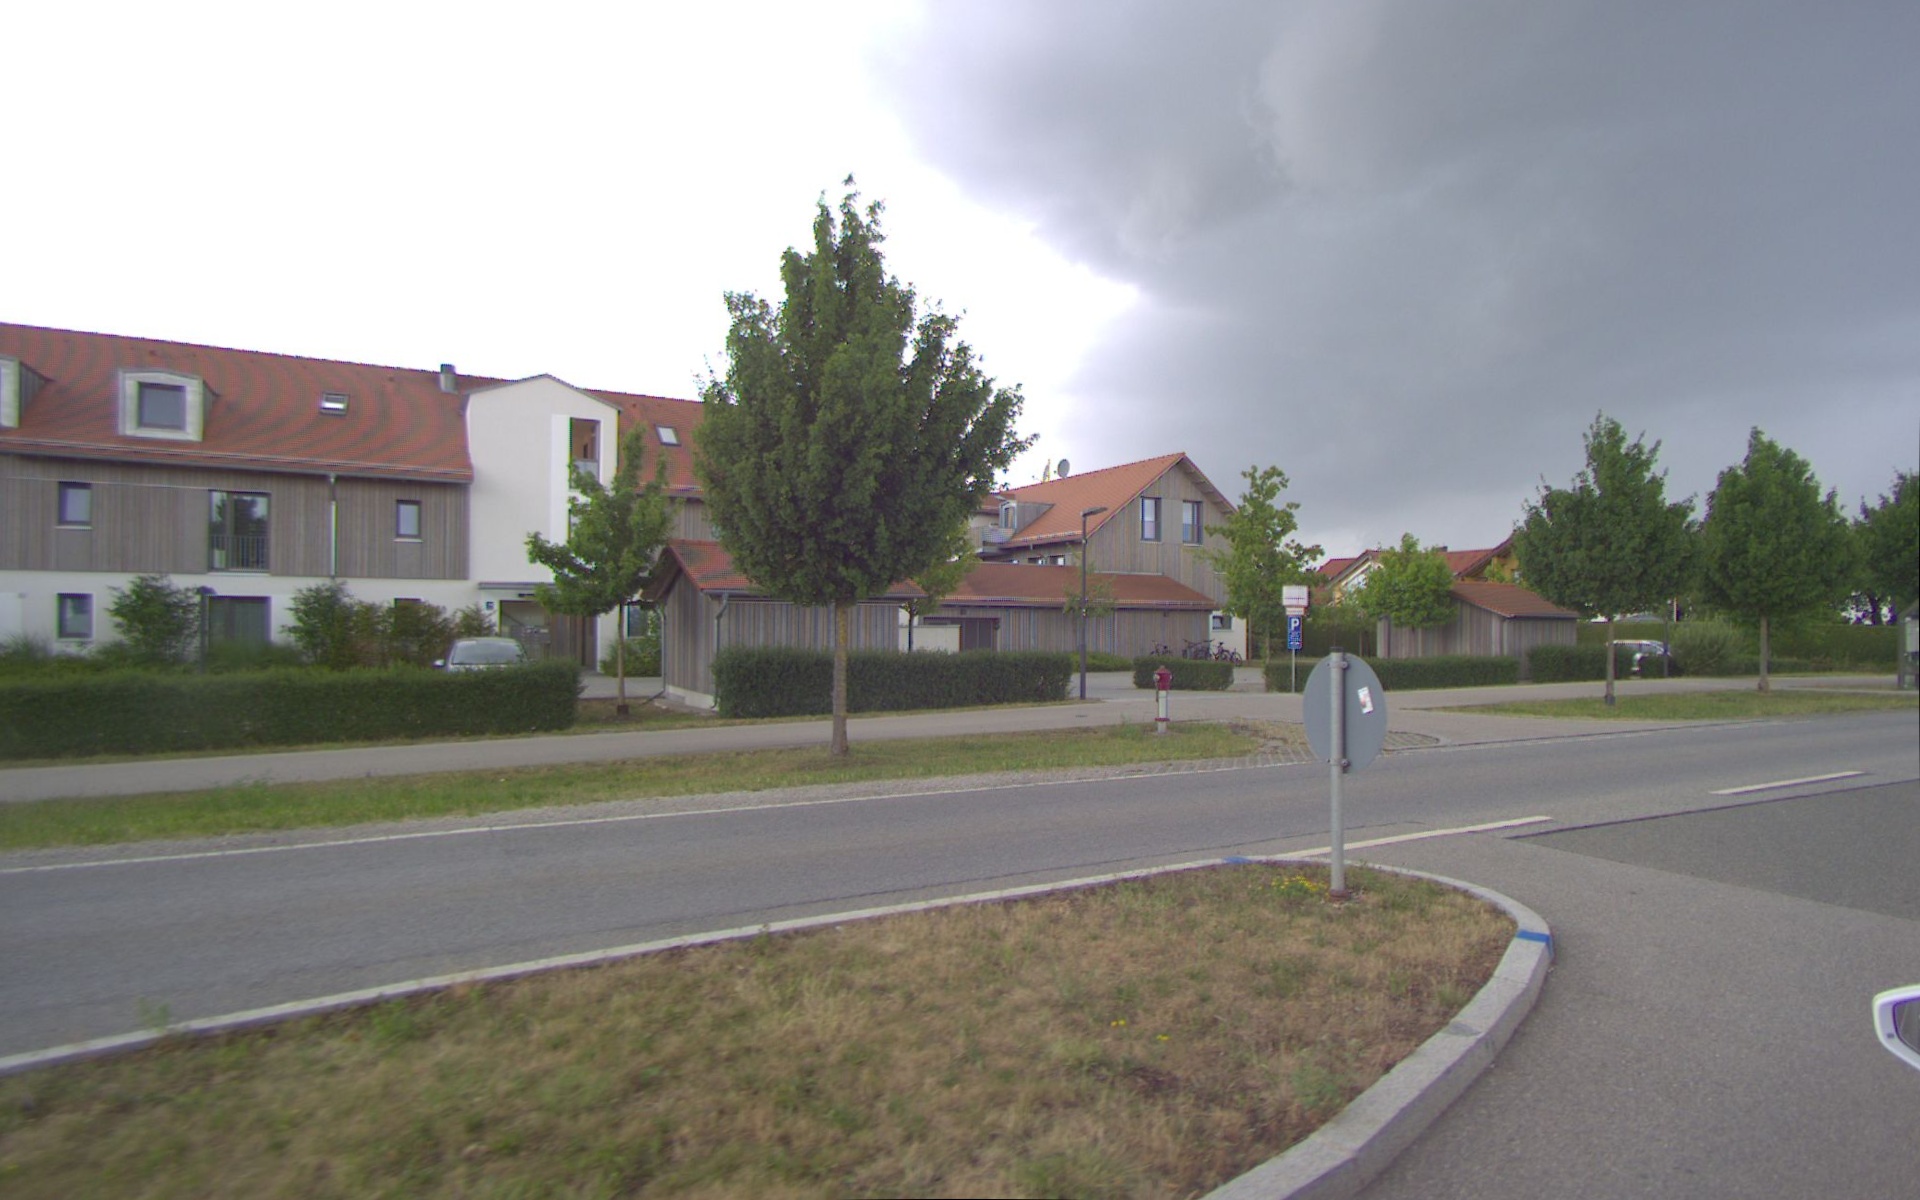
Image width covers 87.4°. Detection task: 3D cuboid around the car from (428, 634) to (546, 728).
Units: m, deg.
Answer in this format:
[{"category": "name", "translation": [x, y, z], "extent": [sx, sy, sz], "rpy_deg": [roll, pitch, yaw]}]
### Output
[{"category": "car", "translation": [-9.717, 1.555, 20.511], "extent": [1.975, 1.577, 3.971], "rpy_deg": [1, 0, -28]}]

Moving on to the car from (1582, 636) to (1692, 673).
[{"category": "car", "translation": [29.405, 2.352, 43.709], "extent": [1.641, 1.549, 3.571], "rpy_deg": [1, -3, -33]}]
